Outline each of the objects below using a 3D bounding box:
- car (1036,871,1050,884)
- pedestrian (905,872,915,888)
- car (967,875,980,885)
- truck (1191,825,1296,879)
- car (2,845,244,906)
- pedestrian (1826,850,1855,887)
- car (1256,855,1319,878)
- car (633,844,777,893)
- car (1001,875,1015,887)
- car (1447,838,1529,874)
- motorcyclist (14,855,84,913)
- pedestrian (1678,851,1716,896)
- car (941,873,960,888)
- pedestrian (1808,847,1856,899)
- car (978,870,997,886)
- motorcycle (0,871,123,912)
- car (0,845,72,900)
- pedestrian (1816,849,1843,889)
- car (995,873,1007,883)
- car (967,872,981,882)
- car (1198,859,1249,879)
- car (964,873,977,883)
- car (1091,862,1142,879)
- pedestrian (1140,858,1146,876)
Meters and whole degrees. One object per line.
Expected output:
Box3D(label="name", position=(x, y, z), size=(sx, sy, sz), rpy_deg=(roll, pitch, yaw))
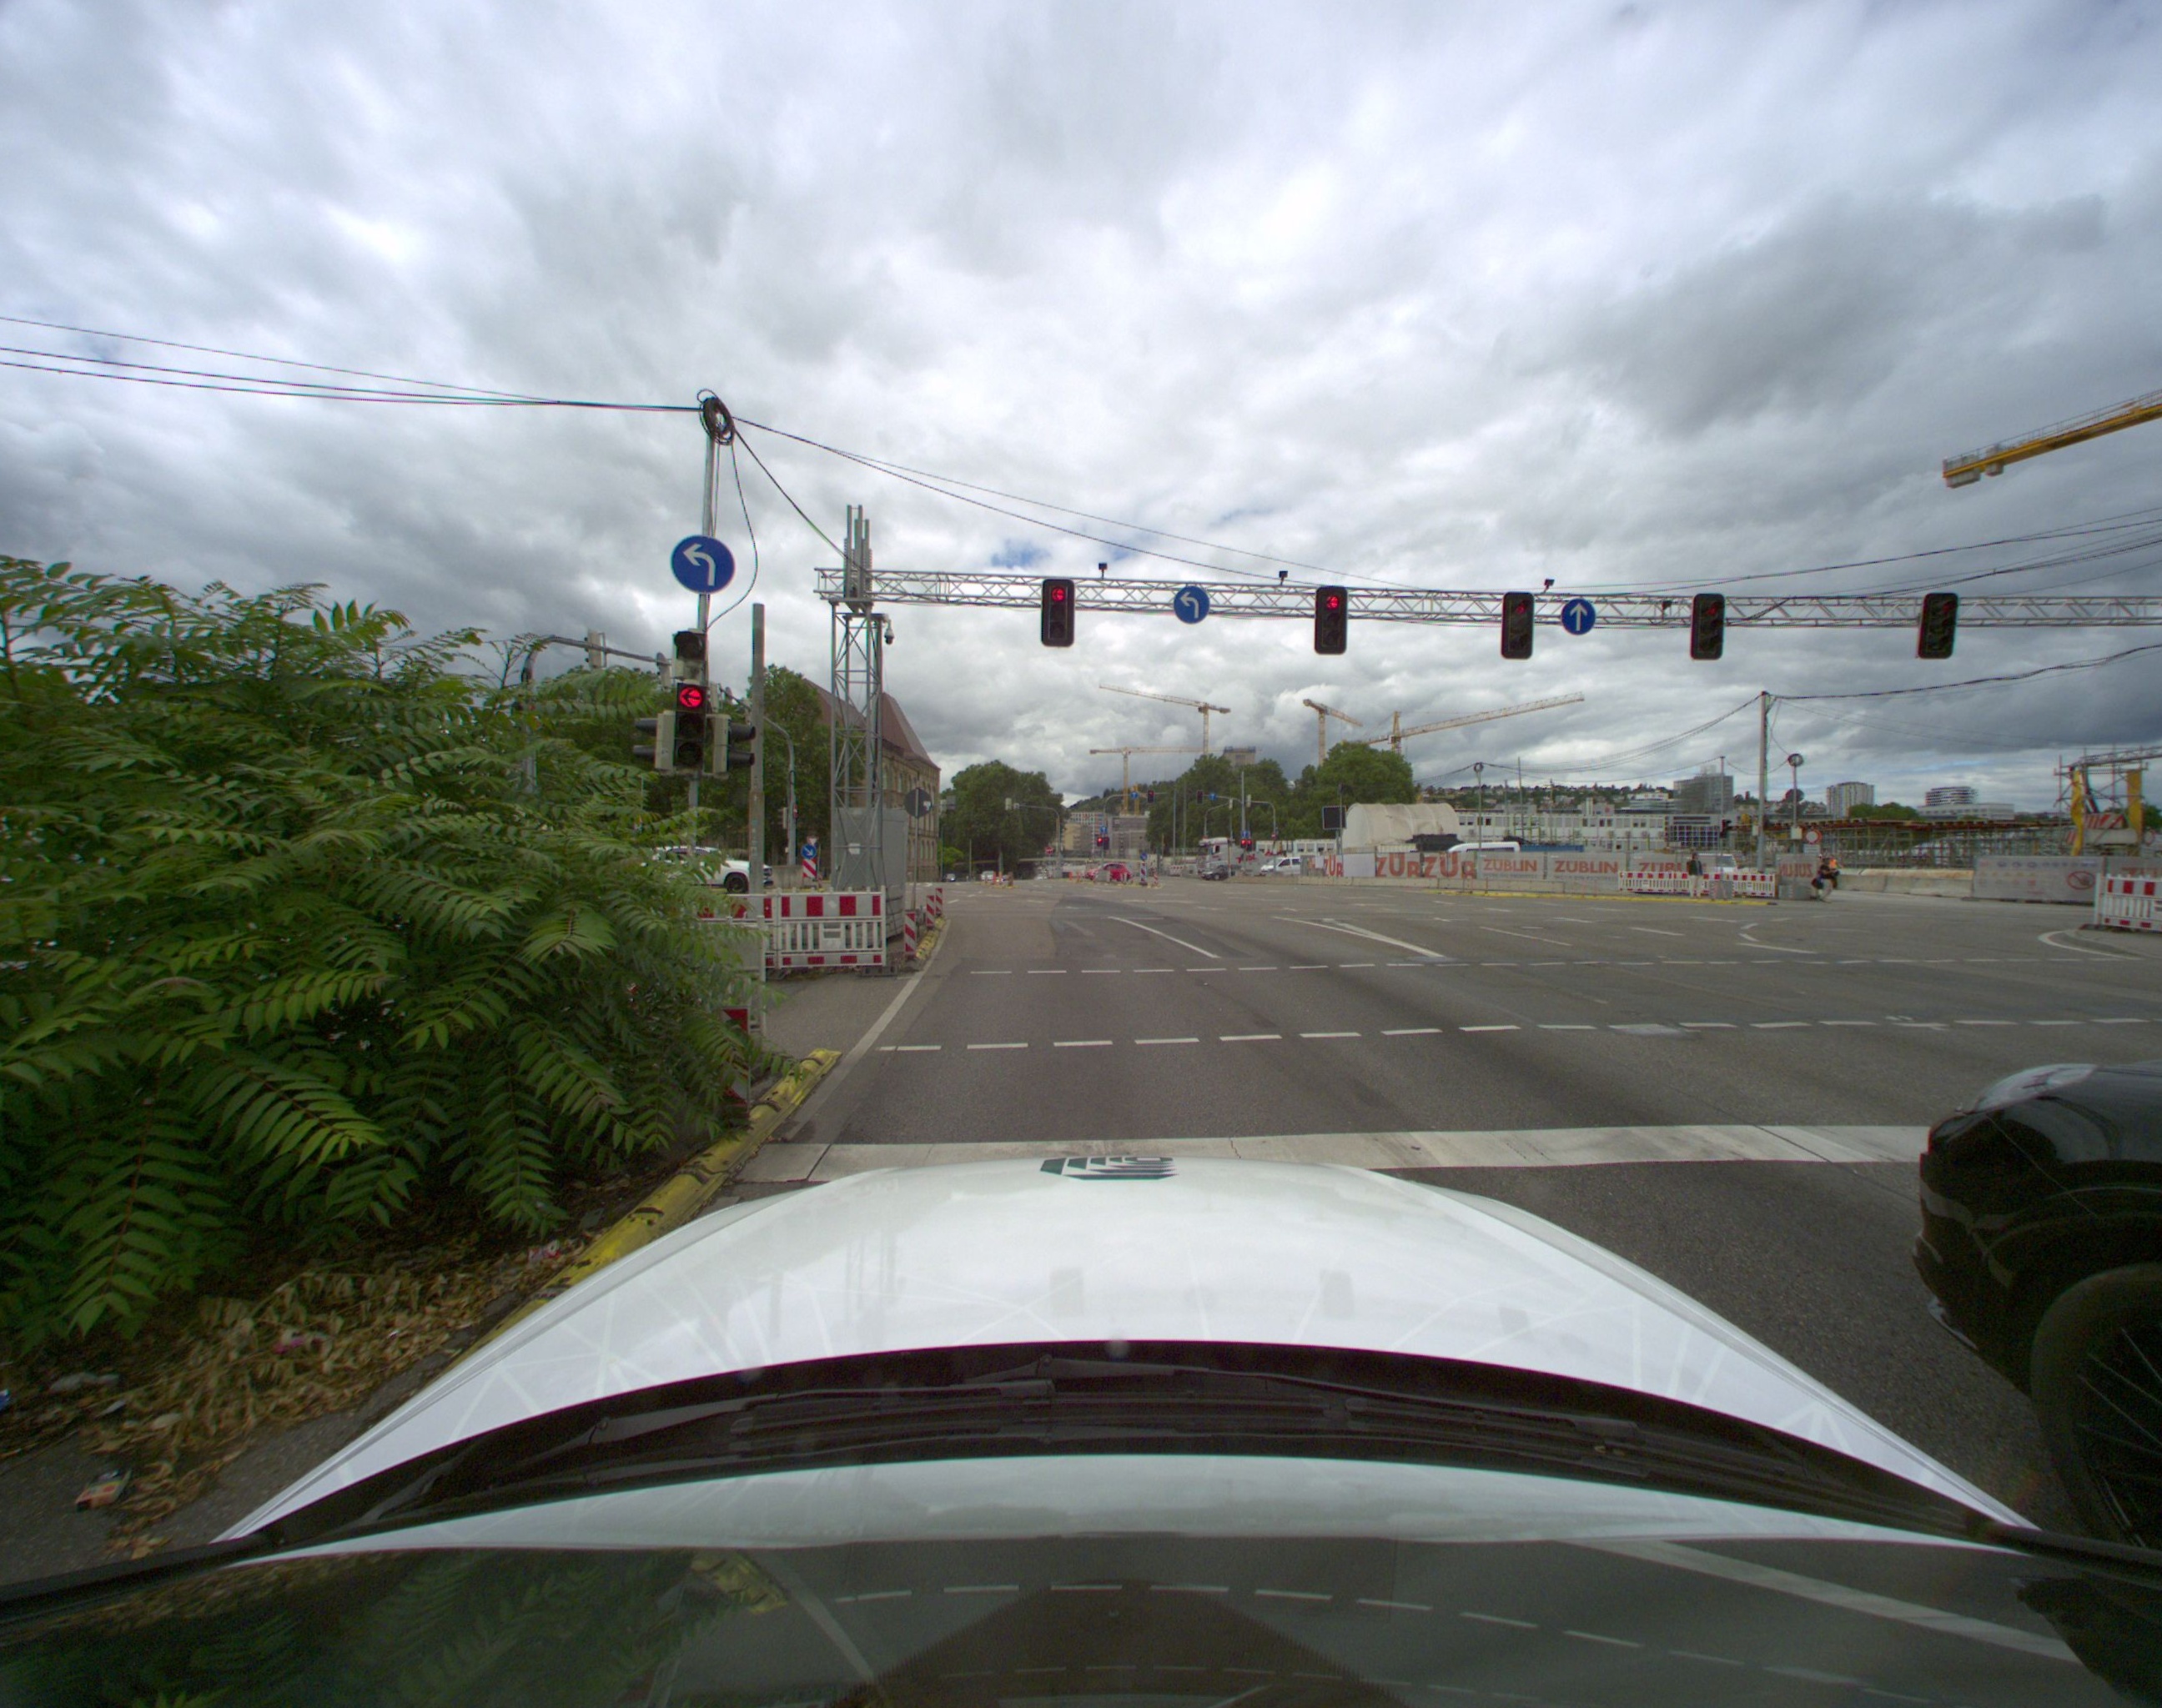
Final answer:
Box3D(label="car", position=(-5.660, 3.468, 122.296), size=(1.987, 1.838, 3.998), rpy_deg=(0, -1, -1))
Box3D(label="pedestrian", position=(-21.759, 3.324, 103.616), size=(0.946, 2.014, 0.767), rpy_deg=(0, -1, 3))
Box3D(label="car", position=(-21.550, 5.187, 163.252), size=(1.987, 1.838, 3.998), rpy_deg=(0, -1, -1))
Box3D(label="truck", position=(15.523, -0.209, 77.735), size=(9.747, 4.961, 3.092), rpy_deg=(0, -1, -20))
Box3D(label="car", position=(-25.914, 0.572, 22.163), size=(4.095, 1.547, 1.999), rpy_deg=(0, -1, -2))
Box3D(label="pedestrian", position=(39.119, 0.744, 41.956), size=(0.677, 1.916, 0.865), rpy_deg=(0, -1, -4))
Box3D(label="car", position=(18.161, 1.079, 71.723), size=(5.149, 2.014, 2.063), rpy_deg=(0, -1, -21))
Box3D(label="car", position=(-14.008, 0.525, 30.585), size=(4.483, 1.759, 1.997), rpy_deg=(0, -1, -5))
Box3D(label="car", position=(-11.630, 4.310, 130.227), size=(1.987, 1.838, 3.998), rpy_deg=(0, -1, -1))
Box3D(label="car", position=(23.464, 0.121, 47.100), size=(3.955, 2.014, 2.009), rpy_deg=(-1, -1, 17))
Box3D(label="motorcyclist", position=(-25.128, 0.728, 19.838), size=(0.786, 1.380, 0.697), rpy_deg=(0, -1, -2))
Box3D(label="pedestrian", position=(25.712, 0.811, 34.015), size=(1.035, 1.848, 0.794), rpy_deg=(-1, -1, 17))
Box3D(label="car", position=(-17.254, 3.505, 107.716), size=(1.987, 1.838, 3.998), rpy_deg=(0, -1, -1))
Box3D(label="pedestrian", position=(29.332, 0.735, 31.825), size=(1.034, 2.014, 1.040), rpy_deg=(-1, -1, 22))
Box3D(label="car", position=(-11.672, 2.960, 101.729), size=(1.987, 1.838, 3.998), rpy_deg=(0, -1, -1))
Box3D(label="motorcycle", position=(-24.972, 0.904, 19.851), size=(2.342, 0.941, 0.697), rpy_deg=(0, -1, -2))
Box3D(label="car", position=(-32.238, 0.541, 23.305), size=(4.096, 1.547, 1.999), rpy_deg=(0, -1, -2))
Box3D(label="pedestrian", position=(38.284, 0.745, 41.656), size=(0.673, 2.014, 0.869), rpy_deg=(-1, -1, 14))
Box3D(label="car", position=(-15.269, 4.538, 155.216), size=(1.987, 1.838, 3.998), rpy_deg=(0, -1, -1))
Box3D(label="car", position=(-19.090, 4.081, 145.457), size=(1.987, 1.838, 3.998), rpy_deg=(0, -1, -1))
Box3D(label="car", position=(12.775, 1.358, 73.050), size=(4.176, 1.701, 1.955), rpy_deg=(0, -1, -18))
Box3D(label="car", position=(-21.241, 4.581, 156.434), size=(1.987, 1.838, 3.998), rpy_deg=(0, -1, -1))
Box3D(label="car", position=(2.896, 1.335, 66.520), size=(3.820, 1.386, 1.792), rpy_deg=(0, -1, -20))
Box3D(label="pedestrian", position=(6.283, 1.342, 82.361), size=(0.583, 1.840, 0.604), rpy_deg=(0, -1, -2))
